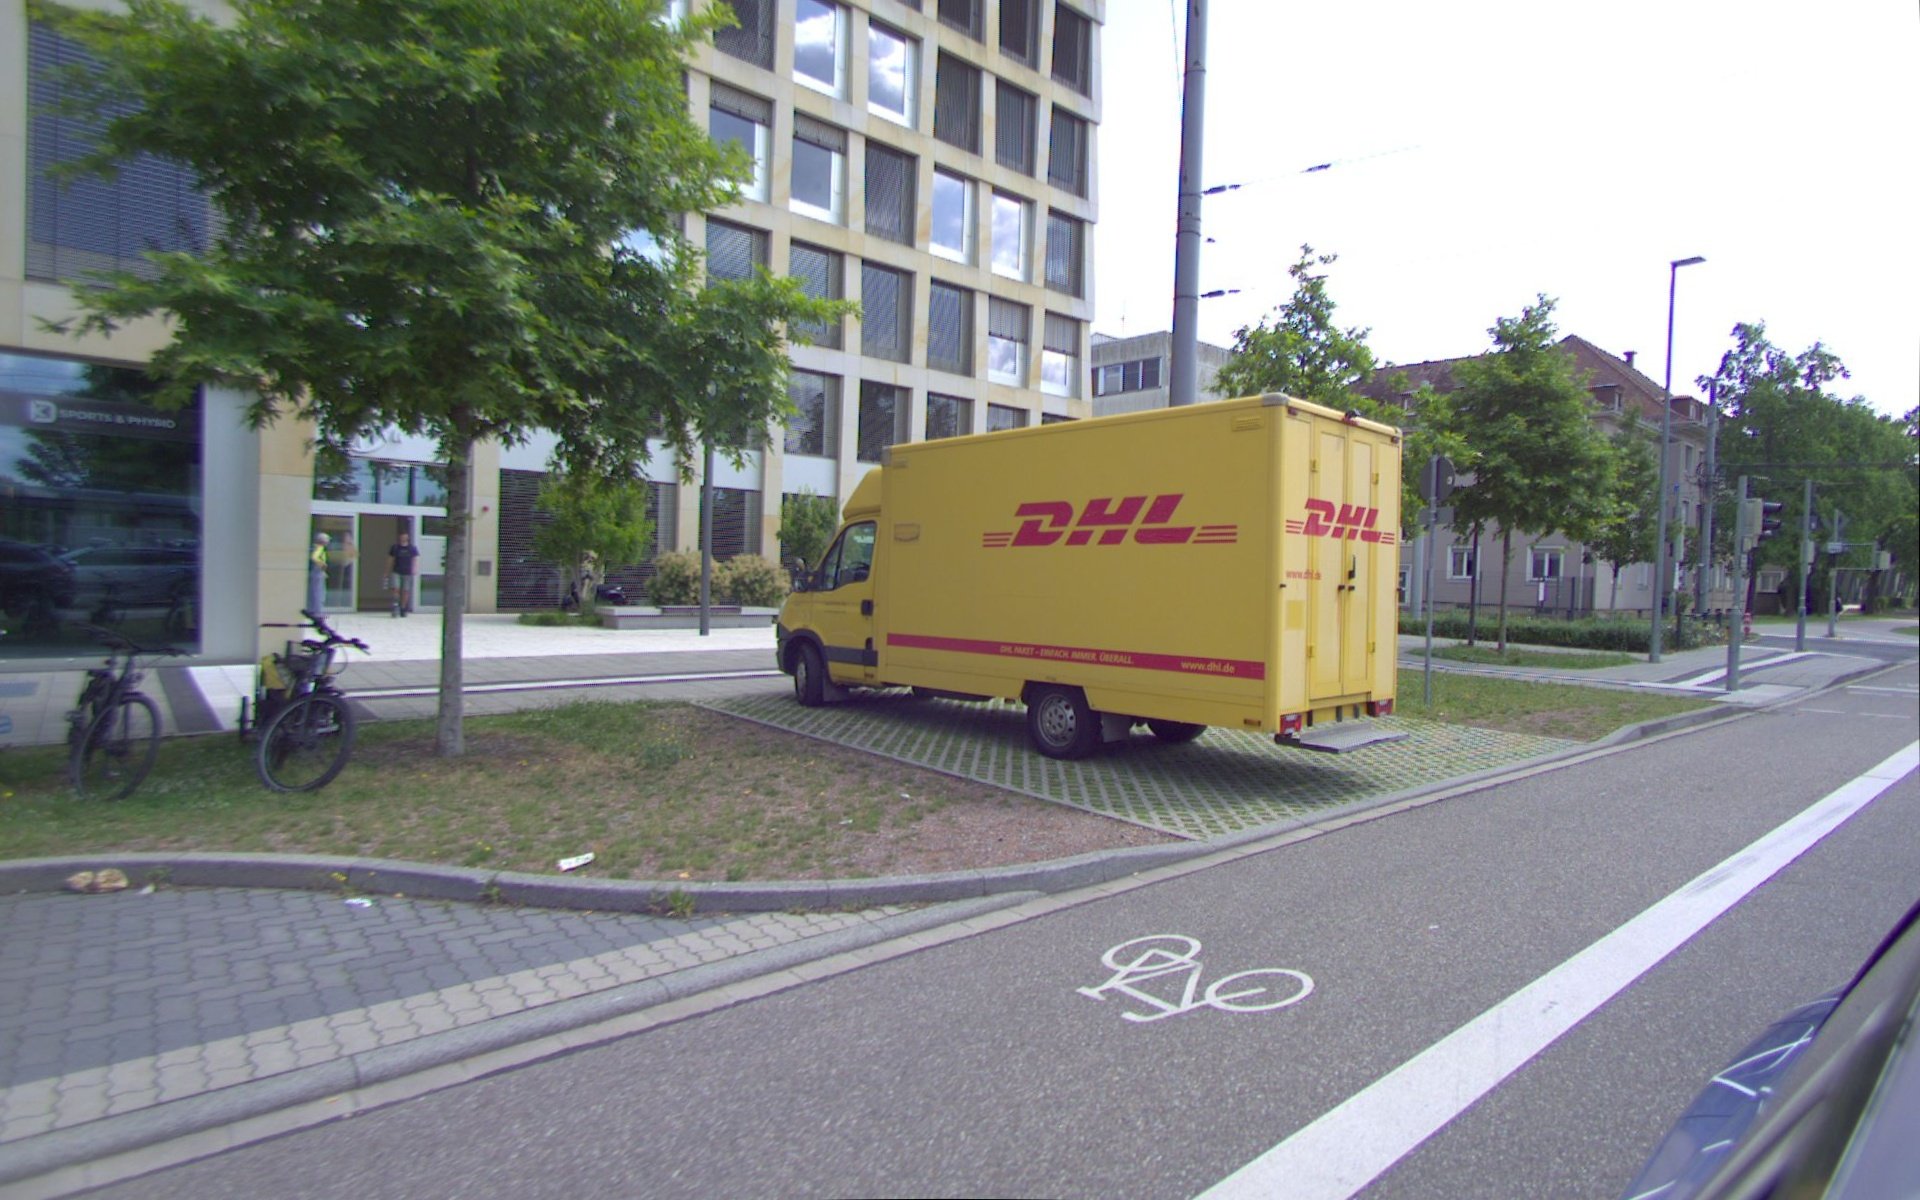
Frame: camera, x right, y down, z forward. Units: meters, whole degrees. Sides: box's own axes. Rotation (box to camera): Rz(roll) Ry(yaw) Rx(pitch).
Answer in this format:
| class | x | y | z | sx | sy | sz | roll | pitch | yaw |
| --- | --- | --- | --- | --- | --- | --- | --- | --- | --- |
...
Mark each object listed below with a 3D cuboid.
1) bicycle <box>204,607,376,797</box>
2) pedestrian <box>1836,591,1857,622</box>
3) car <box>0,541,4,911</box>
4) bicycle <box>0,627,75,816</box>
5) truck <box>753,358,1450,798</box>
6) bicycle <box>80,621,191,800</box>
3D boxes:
| class | x | y | z | sx | sy | sz | roll | pitch | yaw |
| --- | --- | --- | --- | --- | --- | --- | --- | --- | --- |
| bicycle | -4.963 | 0.638 | 7.687 | 0.899 | 1.139 | 2.877 | 1 | 0 | -30 |
| pedestrian | 47.524 | 0.355 | 54.259 | 0.619 | 1.627 | 0.618 | 4 | 3 | 29 |
| car | -4.864 | 0.557 | 2.168 | 3.997 | 1.523 | 1.695 | 0 | 2 | -41 |
| bicycle | -5.917 | 0.707 | 6.477 | 0.375 | 0.969 | 1.844 | 0 | 1 | -41 |
| truck | 0.811 | -0.315 | 10.026 | 2.413 | 2.902 | 6.817 | 0 | 3 | -42 |
| bicycle | -5.571 | 0.666 | 6.805 | 0.510 | 0.969 | 1.844 | 0 | 1 | -41 |
